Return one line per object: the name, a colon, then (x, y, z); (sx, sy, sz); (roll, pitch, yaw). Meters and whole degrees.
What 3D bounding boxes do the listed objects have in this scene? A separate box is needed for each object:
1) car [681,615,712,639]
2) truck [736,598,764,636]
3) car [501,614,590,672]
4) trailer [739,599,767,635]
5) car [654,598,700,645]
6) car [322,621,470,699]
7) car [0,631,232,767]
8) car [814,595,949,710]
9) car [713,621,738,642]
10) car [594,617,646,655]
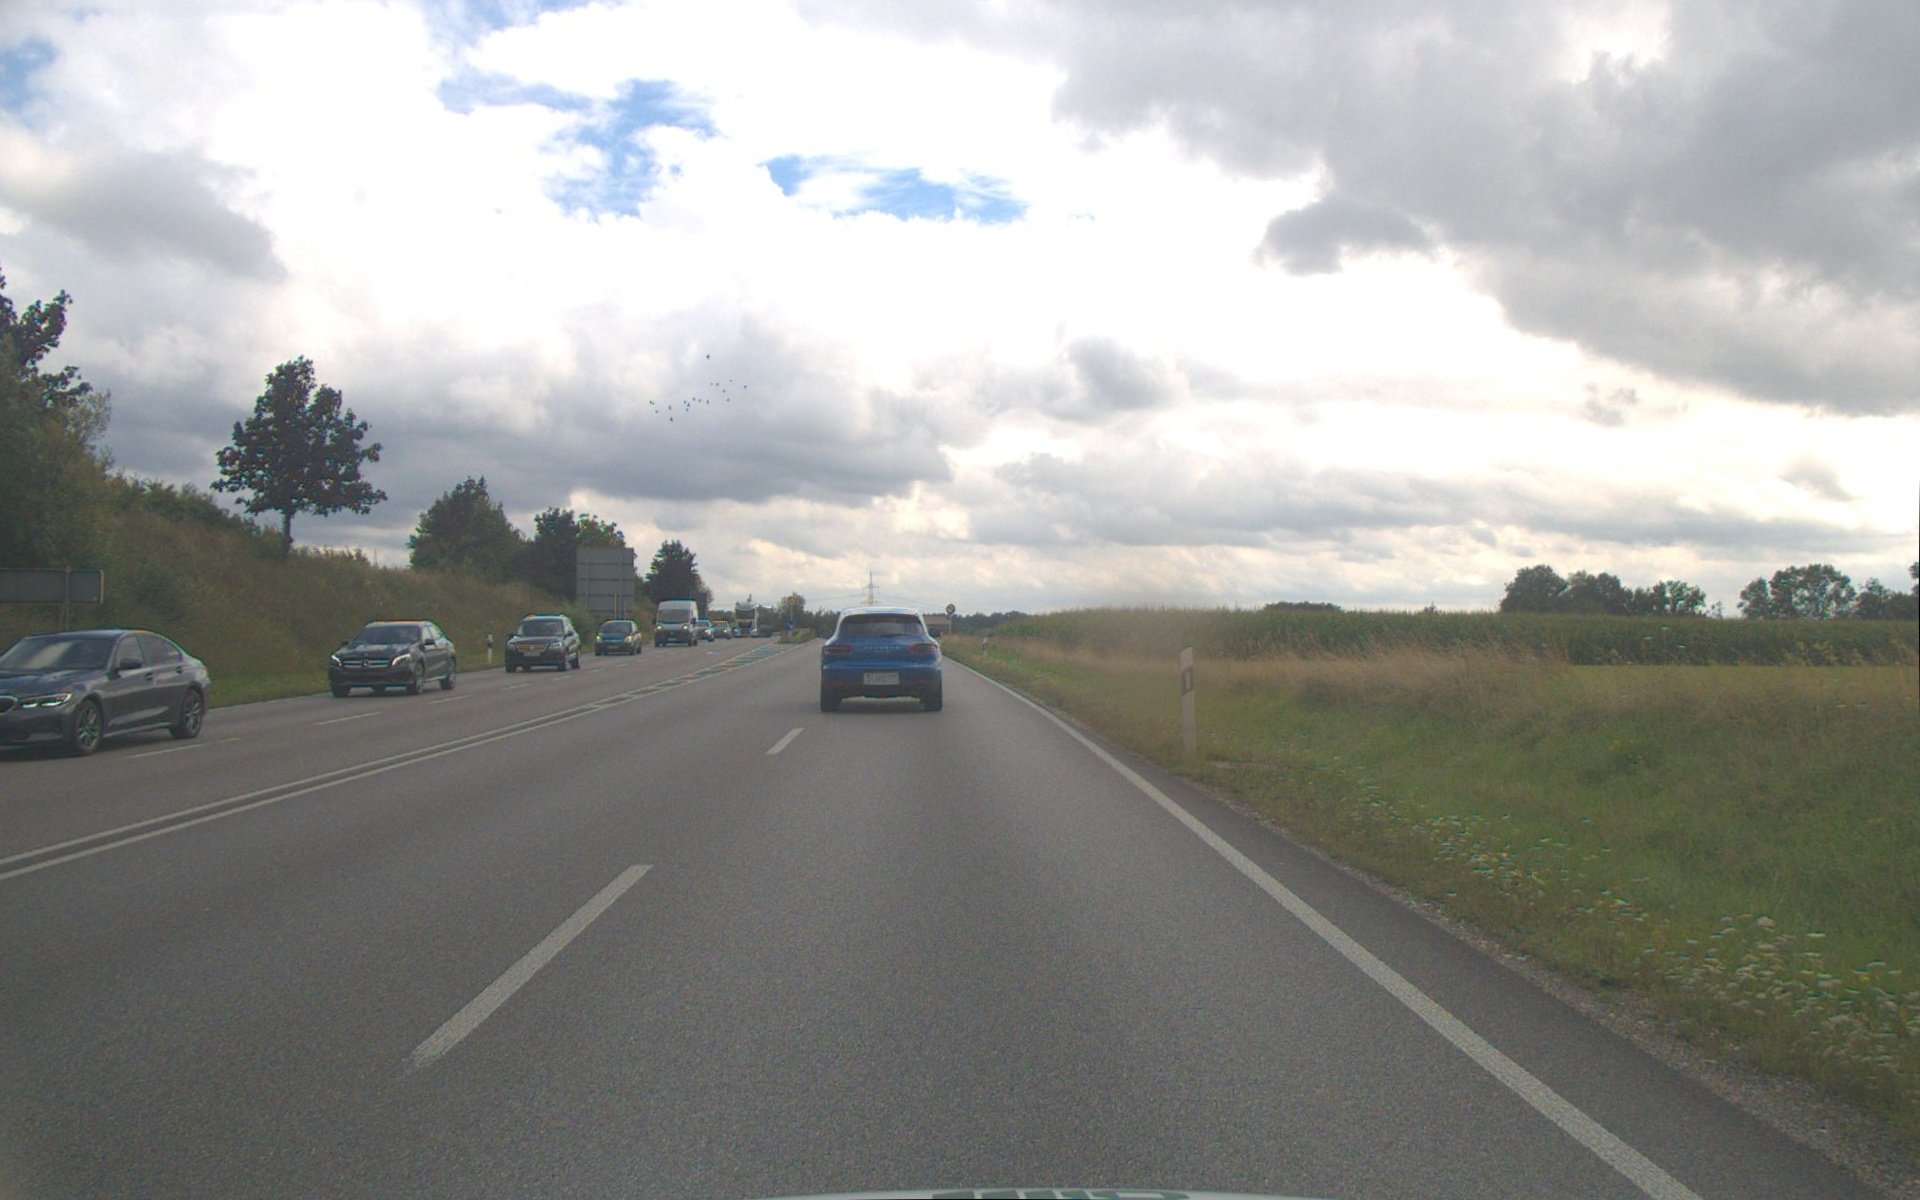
car: (-17.963, 1.828, 112.839); (1.698, 1.557, 4.544); (0, 0, -5)
truck: (-23.561, 1.893, 185.913); (2.748, 4.067, 5.281); (1, 0, -4)
car: (-12.844, 1.294, 51.446); (1.758, 1.663, 4.514); (-1, 0, -2)
trailer: (-24.125, 1.950, 193.270); (2.721, 4.016, 12.972); (1, 0, -5)
car: (-15.802, 1.177, 92.583); (1.993, 2.482, 5.630); (-1, 0, -5)
car: (-12.123, 1.238, 35.857); (1.758, 1.538, 4.703); (0, 0, -2)
car: (-10.916, 1.139, 20.609); (1.758, 1.430, 4.703); (0, 0, -2)
car: (-1.336, 0.814, 26.816); (1.993, 1.690, 4.538); (0, -1, -5)
car: (-18.471, 2.471, 130.434); (1.698, 1.557, 4.190); (0, 0, -5)
car: (-14.793, 1.541, 72.109); (1.698, 1.557, 4.190); (0, 0, -5)
